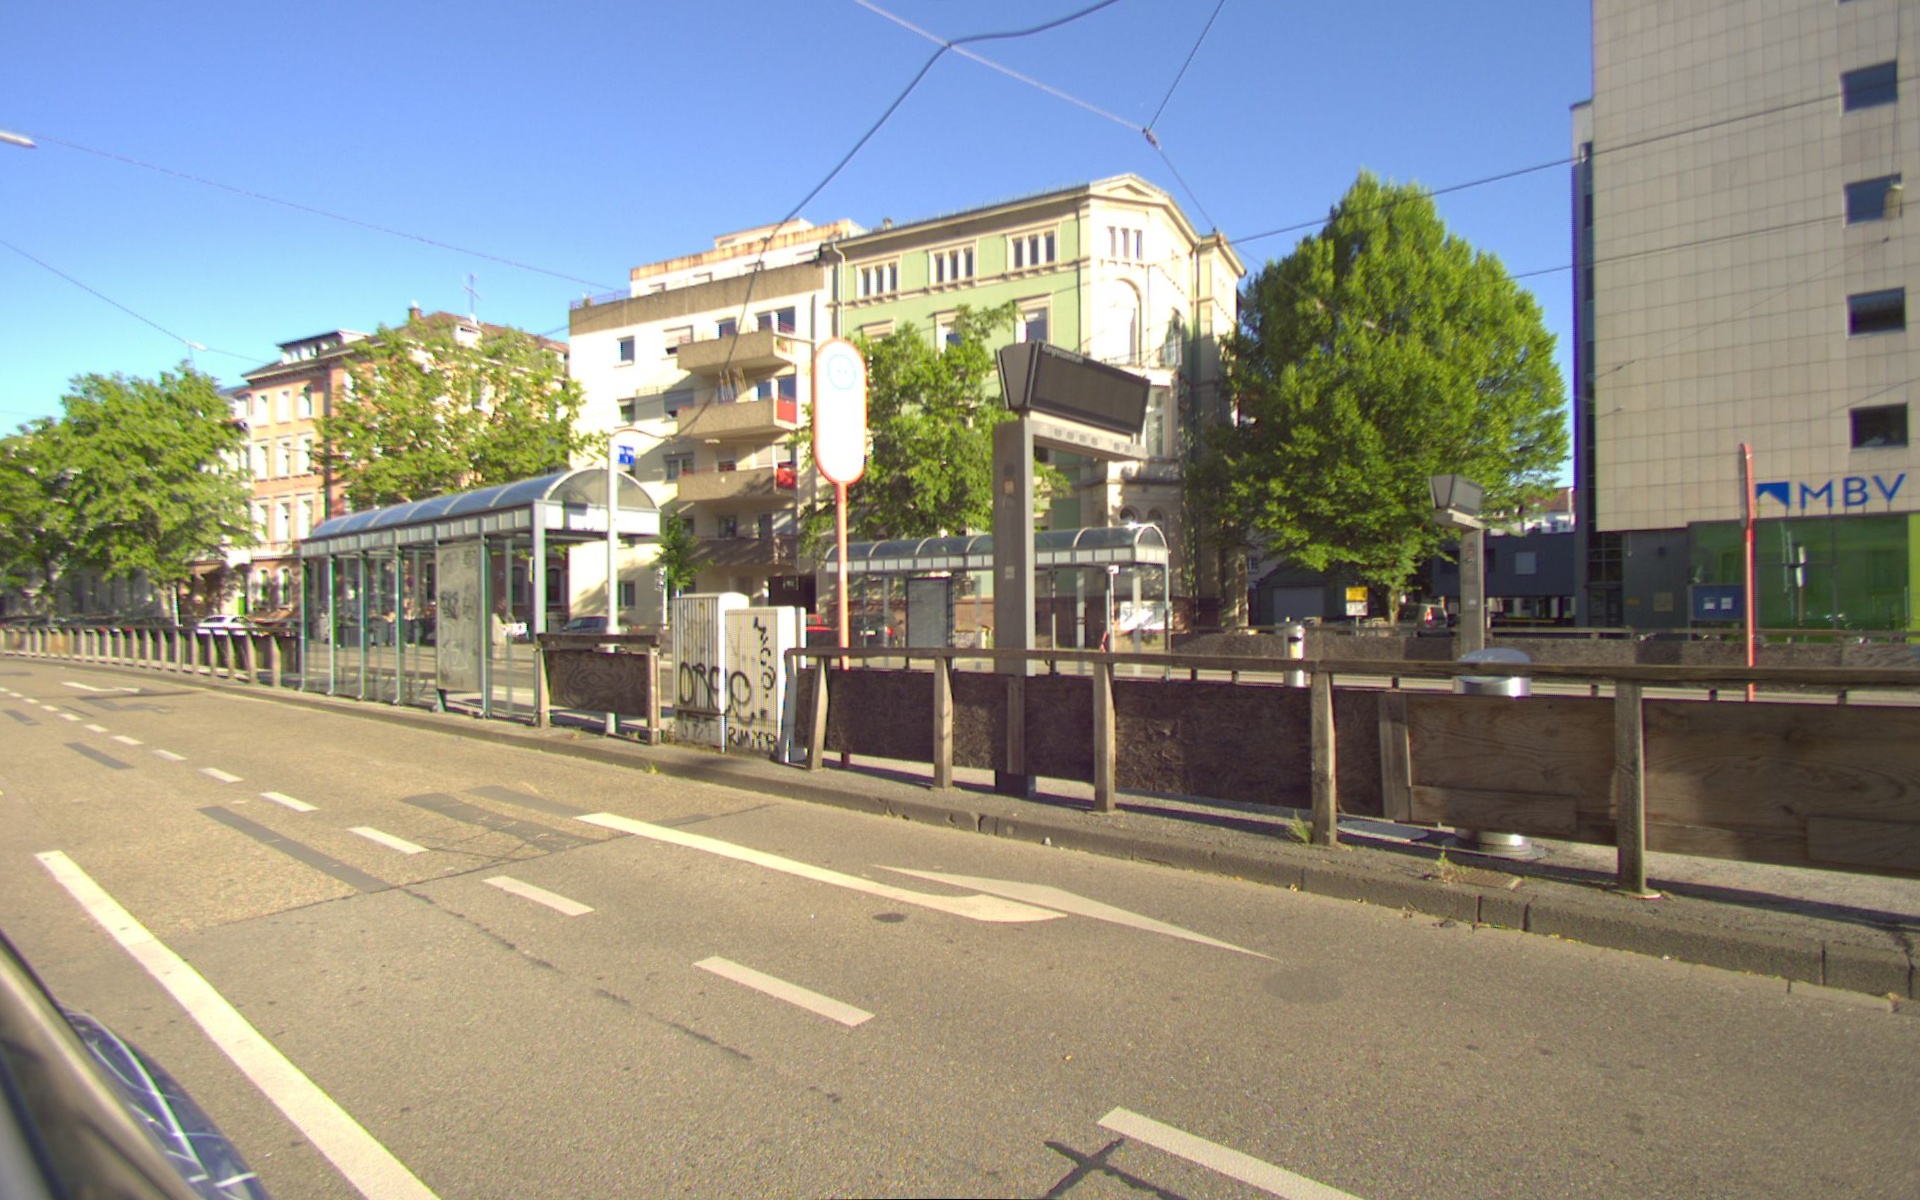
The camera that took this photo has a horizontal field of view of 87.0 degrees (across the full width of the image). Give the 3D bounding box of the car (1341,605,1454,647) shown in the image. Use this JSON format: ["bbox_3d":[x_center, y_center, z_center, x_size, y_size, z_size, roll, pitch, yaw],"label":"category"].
[{"bbox_3d":[15.727,0.901,36.479,1.544,1.423,3.430,-1,0,-38],"label":"car"}]

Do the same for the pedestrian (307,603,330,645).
[{"bbox_3d":[-34.173,1.262,53.874,0.755,2.224,0.803,-1,-2,36],"label":"pedestrian"}]

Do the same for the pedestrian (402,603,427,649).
[{"bbox_3d":[-27.033,1.292,50.177,0.753,2.224,0.804,-1,-2,30],"label":"pedestrian"}]

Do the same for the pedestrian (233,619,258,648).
[{"bbox_3d":[-40.909,1.896,57.959,0.887,1.641,0.861,-1,-2,25],"label":"pedestrian"}]

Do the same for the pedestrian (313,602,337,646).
[{"bbox_3d":[-33.088,1.248,52.757,0.753,2.224,0.804,-1,-2,30],"label":"pedestrian"}]

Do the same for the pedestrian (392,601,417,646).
[{"bbox_3d":[-27.820,1.179,50.665,0.753,2.224,0.804,-1,-2,30],"label":"pedestrian"}]

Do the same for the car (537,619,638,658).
[{"bbox_3d":[-14.243,1.450,38.650,3.725,1.438,1.637,-1,-1,29],"label":"car"}]

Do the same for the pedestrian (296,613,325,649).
[{"bbox_3d":[-32.152,1.530,50.121,1.016,1.733,0.846,-1,-2,32],"label":"pedestrian"}]

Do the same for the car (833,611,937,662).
[{"bbox_3d":[-2.424,1.186,33.623,1.754,1.594,3.965,-1,-1,26],"label":"car"}]

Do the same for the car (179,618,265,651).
[{"bbox_3d":[-39.477,1.833,54.250,1.825,1.721,4.130,0,-1,-5],"label":"car"}]

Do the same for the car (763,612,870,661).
[{"bbox_3d":[-4.858,1.218,34.671,1.754,1.594,3.965,-1,-1,26],"label":"car"}]

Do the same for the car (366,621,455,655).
[{"bbox_3d":[-23.728,1.604,43.676,3.986,1.407,1.592,-1,-2,32],"label":"car"}]
